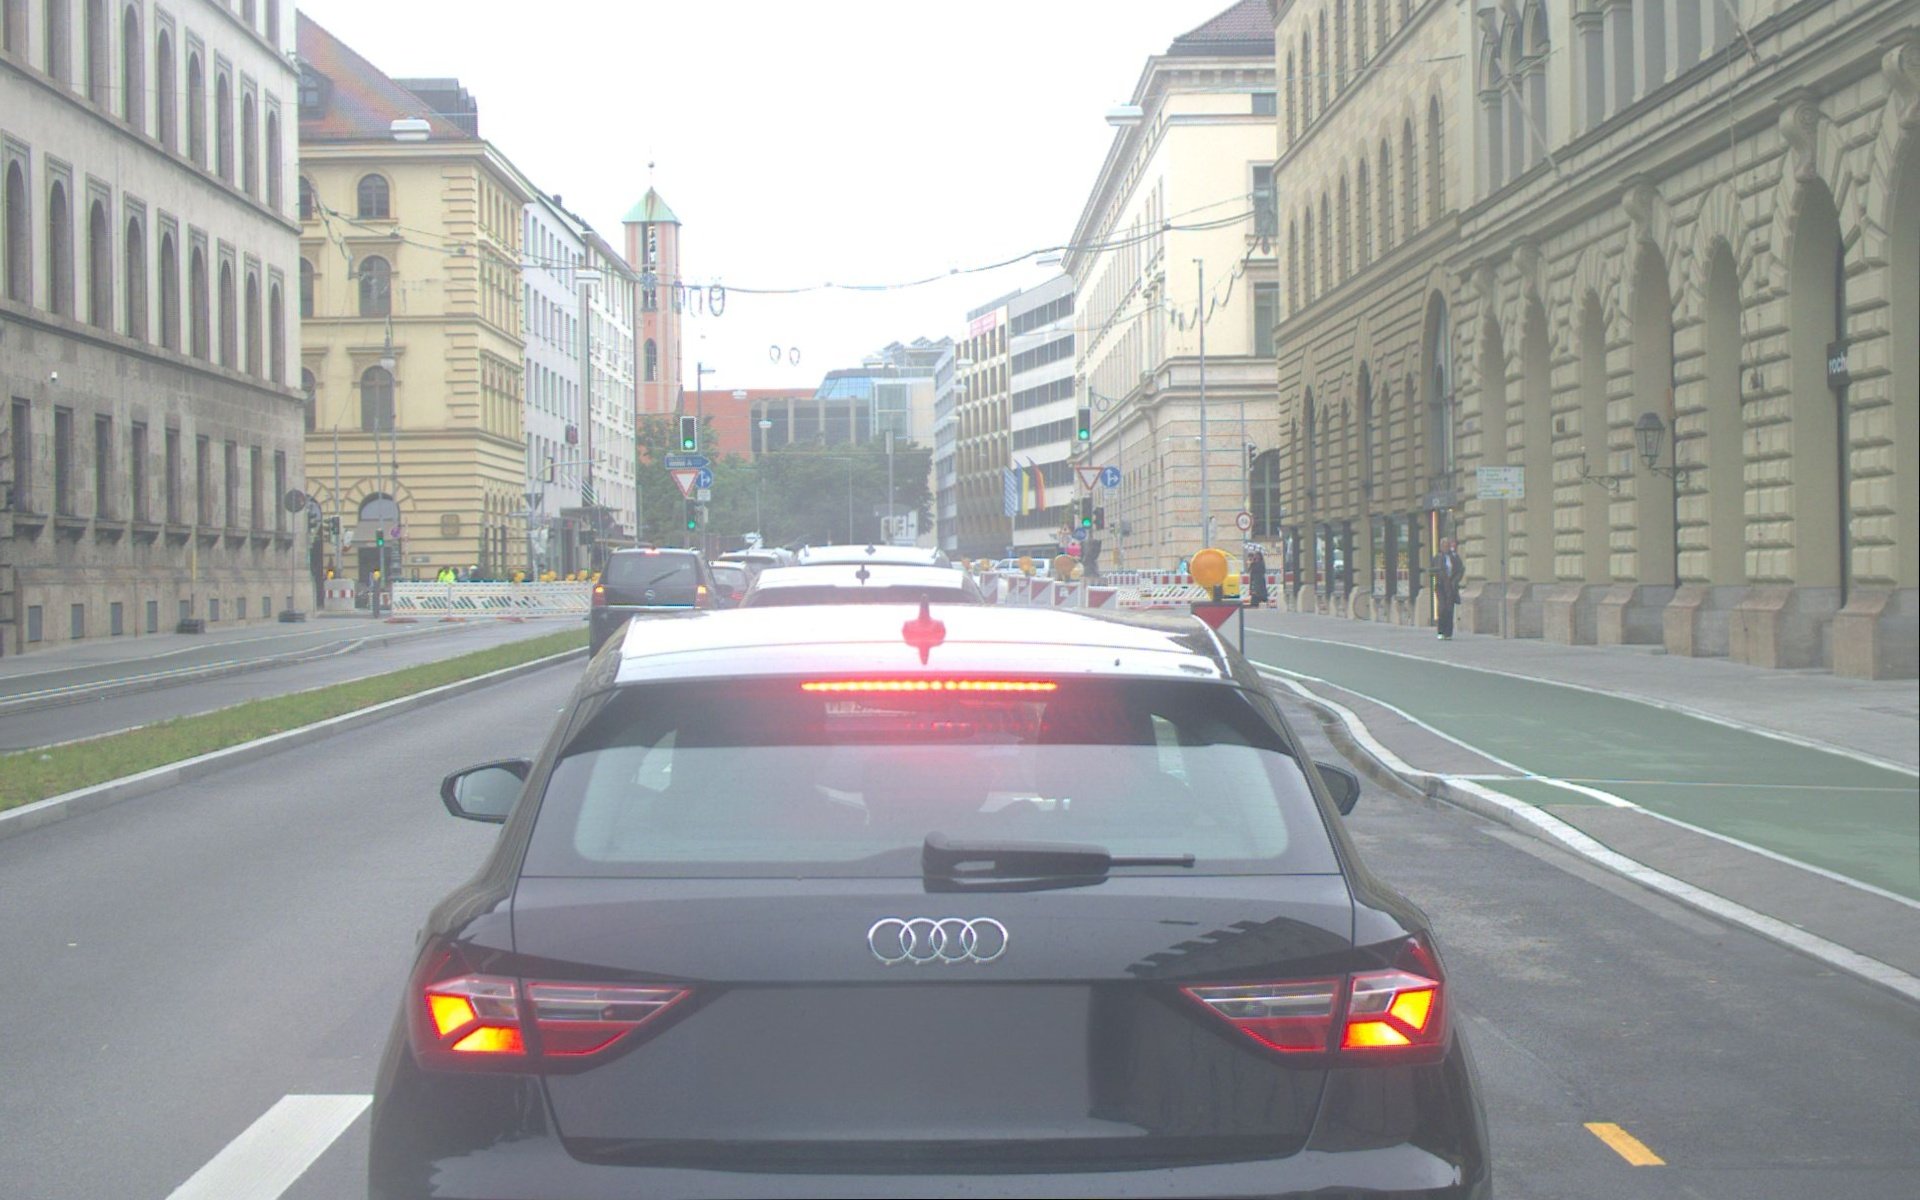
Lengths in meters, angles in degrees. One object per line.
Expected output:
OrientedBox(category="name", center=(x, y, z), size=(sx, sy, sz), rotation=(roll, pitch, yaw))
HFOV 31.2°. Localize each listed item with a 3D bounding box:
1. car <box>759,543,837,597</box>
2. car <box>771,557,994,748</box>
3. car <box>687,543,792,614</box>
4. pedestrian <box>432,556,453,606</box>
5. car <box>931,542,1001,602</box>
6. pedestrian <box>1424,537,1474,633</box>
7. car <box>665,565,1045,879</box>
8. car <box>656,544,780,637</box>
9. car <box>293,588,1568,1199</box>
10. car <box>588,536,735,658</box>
OrientedBox(category="car", center=(-4.460, -0.837, 95.181), size=(1.993, 1.439, 4.000), rotation=(-1, 1, 0))
OrientedBox(category="car", center=(-0.639, 0.388, 28.870), size=(1.730, 1.456, 4.000), rotation=(1, 1, -1))
OrientedBox(category="car", center=(-4.639, -0.464, 72.749), size=(1.993, 1.439, 4.000), rotation=(-1, 1, 0))
OrientedBox(category="pedestrian", center=(-18.658, -0.700, 123.994), size=(0.656, 1.799, 0.727), rotation=(-1, 1, -1))
OrientedBox(category="car", center=(0.149, -0.793, 99.017), size=(1.950, 1.656, 4.000), rotation=(1, 0, 0))
OrientedBox(category="pedestrian", center=(8.330, -0.256, 58.546), size=(0.710, 1.612, 0.754), rotation=(-1, 1, -1))
OrientedBox(category="car", center=(-0.516, 0.541, 17.831), size=(1.730, 1.398, 4.000), rotation=(1, 1, -1))
OrientedBox(category="car", center=(-4.363, -0.199, 62.419), size=(1.993, 1.622, 4.000), rotation=(-1, 1, 0))
OrientedBox(category="car", center=(-0.075, 0.714, 6.694), size=(1.730, 1.398, 4.000), rotation=(1, 1, -1))
OrientedBox(category="car", center=(-4.137, -0.071, 48.096), size=(1.764, 1.610, 4.030), rotation=(1, 1, -1))
